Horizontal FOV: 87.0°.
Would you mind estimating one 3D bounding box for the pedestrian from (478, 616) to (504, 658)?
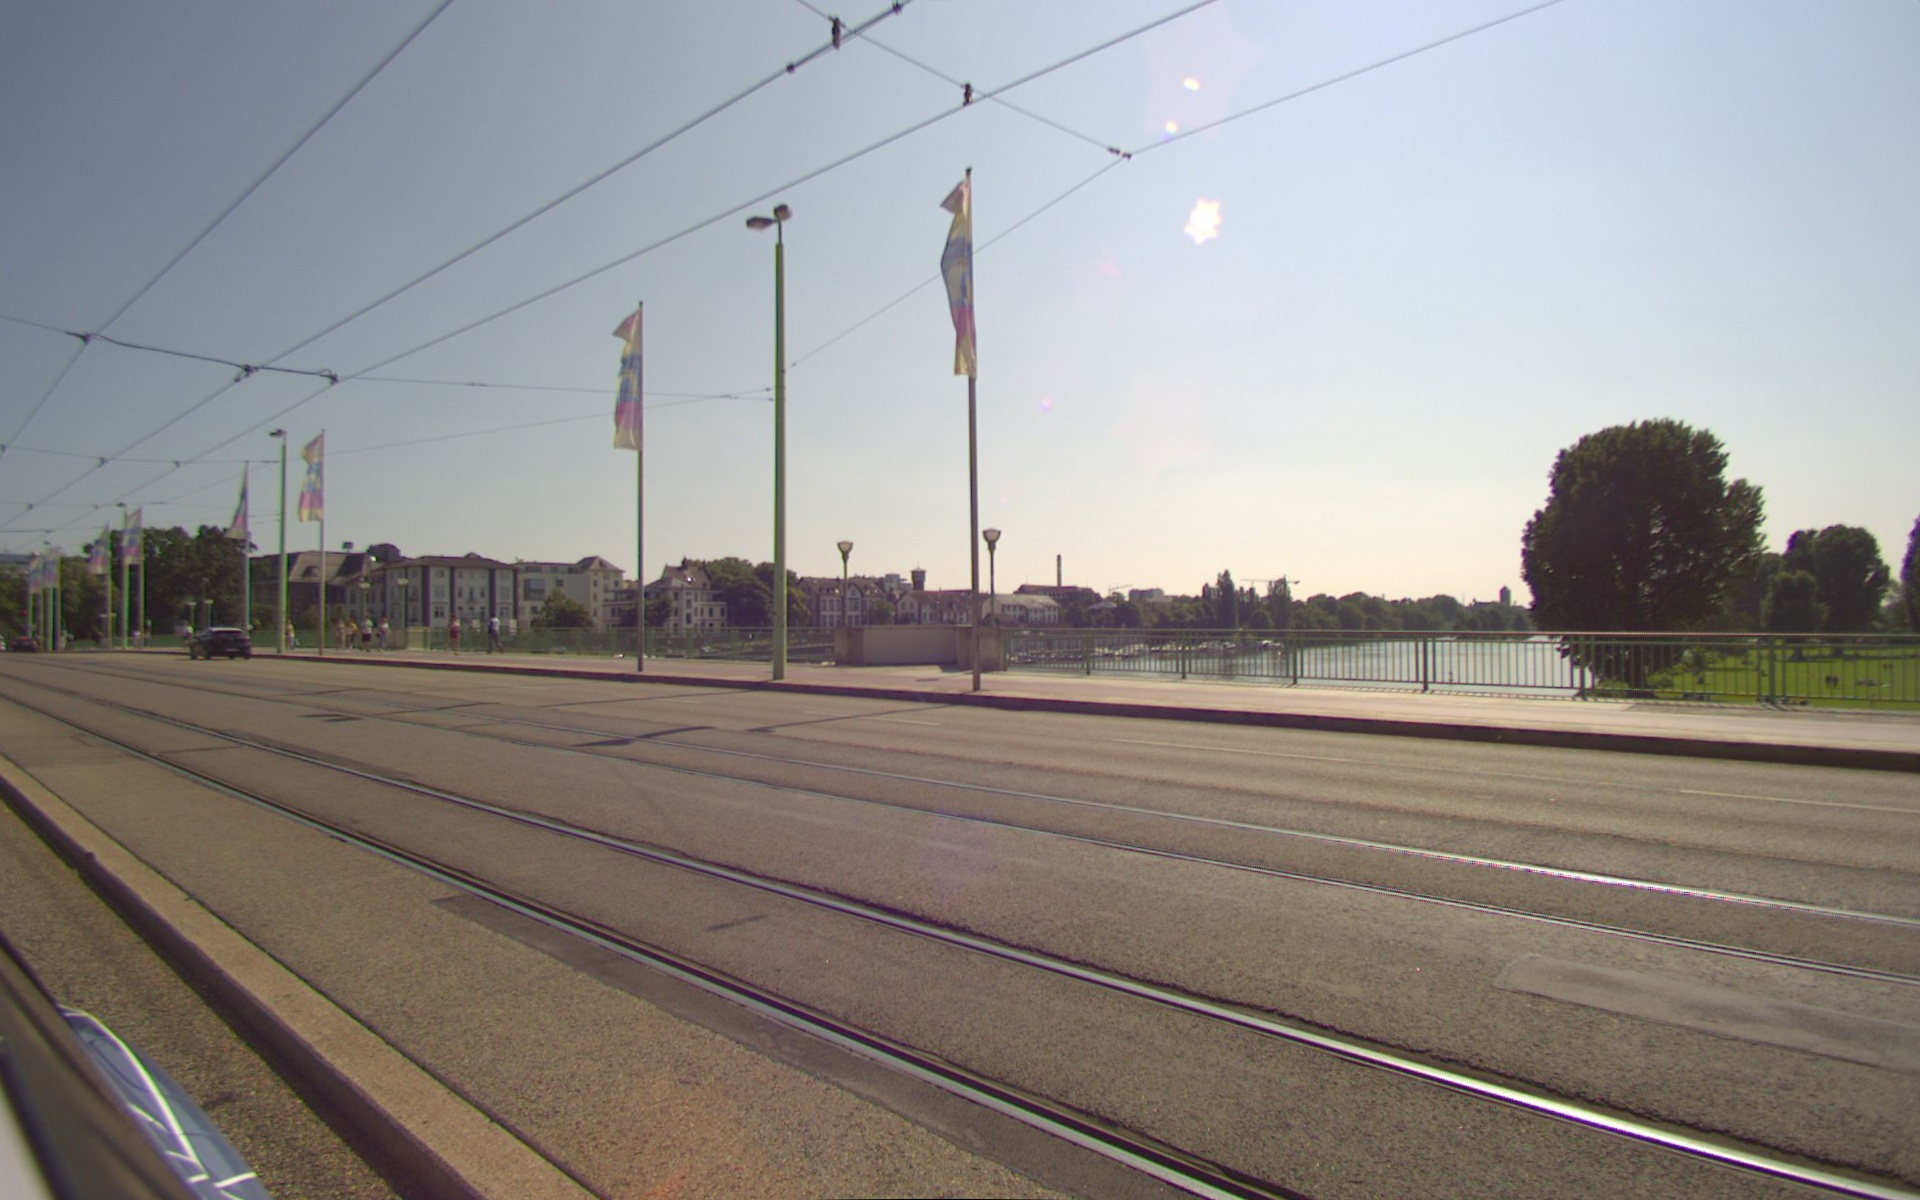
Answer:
[{"bbox_3d":[-19.658,1.529,42.457,1.022,1.712,0.584,-1,0,41],"label":"pedestrian"}]

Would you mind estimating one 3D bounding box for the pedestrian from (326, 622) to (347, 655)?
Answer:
[{"bbox_3d":[-31.809,1.959,51.640,1.022,1.611,0.619,-1,0,41],"label":"pedestrian"}]

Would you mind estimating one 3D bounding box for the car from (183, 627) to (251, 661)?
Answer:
[{"bbox_3d":[-34.020,1.982,46.302,3.900,1.465,1.698,-1,-2,41],"label":"car"}]

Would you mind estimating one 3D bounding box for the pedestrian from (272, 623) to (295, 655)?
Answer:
[{"bbox_3d":[-37.485,2.161,56.056,1.022,1.712,0.777,-1,1,41],"label":"pedestrian"}]

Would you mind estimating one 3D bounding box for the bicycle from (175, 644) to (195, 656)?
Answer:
[{"bbox_3d":[-51.425,3.297,67.141,2.172,0.721,0.658,-2,-2,42],"label":"bicycle"}]

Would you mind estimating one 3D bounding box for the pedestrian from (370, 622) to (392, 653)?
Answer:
[{"bbox_3d":[-27.580,1.782,48.210,1.022,1.425,0.584,-1,0,41],"label":"pedestrian"}]

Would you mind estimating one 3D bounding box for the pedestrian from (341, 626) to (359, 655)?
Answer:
[{"bbox_3d":[-31.498,2.078,52.249,0.788,1.448,0.540,-1,0,41],"label":"pedestrian"}]

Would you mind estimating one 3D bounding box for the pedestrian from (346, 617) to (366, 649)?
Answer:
[{"bbox_3d":[-32.789,1.788,54.929,1.022,1.712,0.584,-1,0,41],"label":"pedestrian"}]

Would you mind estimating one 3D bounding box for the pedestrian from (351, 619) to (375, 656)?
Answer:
[{"bbox_3d":[-28.320,1.791,48.008,1.022,1.712,0.663,-1,0,41],"label":"pedestrian"}]

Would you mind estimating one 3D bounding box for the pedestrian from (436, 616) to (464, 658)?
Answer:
[{"bbox_3d":[-21.350,1.536,42.330,1.022,1.703,0.677,-1,0,41],"label":"pedestrian"}]

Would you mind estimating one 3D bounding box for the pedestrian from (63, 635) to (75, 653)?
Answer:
[{"bbox_3d":[-90.626,4.456,102.939,1.022,1.712,0.777,-1,1,41],"label":"pedestrian"}]

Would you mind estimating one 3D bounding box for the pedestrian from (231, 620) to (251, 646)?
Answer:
[{"bbox_3d":[-47.362,2.166,66.653,1.022,1.712,0.777,-1,1,41],"label":"pedestrian"}]

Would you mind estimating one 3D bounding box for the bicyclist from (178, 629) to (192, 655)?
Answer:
[{"bbox_3d":[-51.386,2.778,67.120,0.621,1.663,0.657,-2,-2,42],"label":"bicyclist"}]

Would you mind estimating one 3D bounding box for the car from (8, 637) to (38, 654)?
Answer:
[{"bbox_3d":[-85.652,4.111,92.468,3.999,1.447,1.650,-1,-2,42],"label":"car"}]
